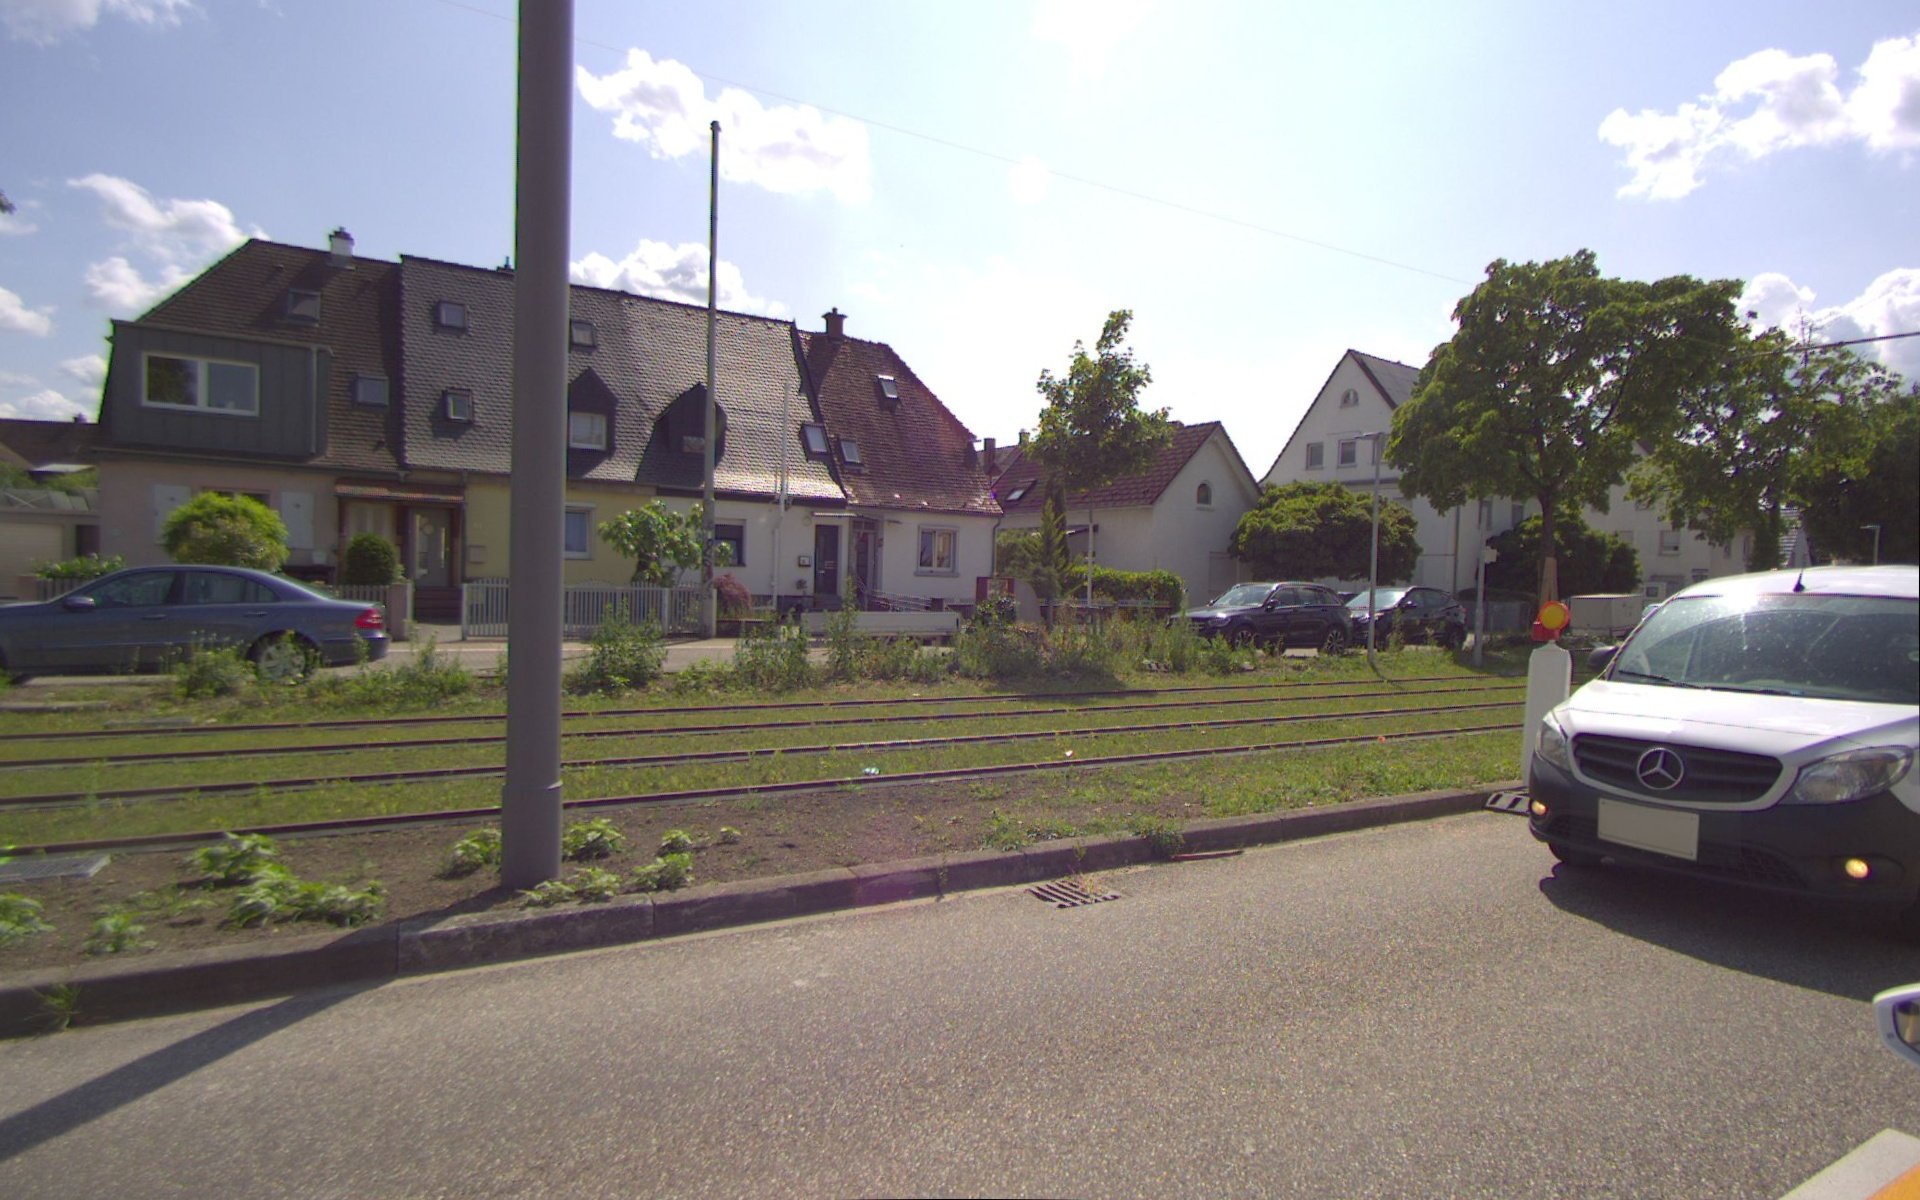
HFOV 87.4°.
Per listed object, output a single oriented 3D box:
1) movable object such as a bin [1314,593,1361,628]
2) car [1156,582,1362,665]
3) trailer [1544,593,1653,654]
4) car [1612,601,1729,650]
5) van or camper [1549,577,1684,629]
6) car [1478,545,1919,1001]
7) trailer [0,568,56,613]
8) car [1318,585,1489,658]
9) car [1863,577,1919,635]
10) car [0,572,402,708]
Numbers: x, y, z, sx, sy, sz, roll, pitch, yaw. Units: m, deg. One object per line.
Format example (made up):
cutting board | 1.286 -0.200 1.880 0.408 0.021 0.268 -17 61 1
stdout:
movable object such as a bin | 15.130 0.413 40.282 1.077 1.347 1.352 0 1 -32
car | 6.456 0.485 21.528 4.519 1.608 1.800 1 -1 -34
trailer | 19.151 0.674 30.092 3.338 1.700 1.555 1 1 -35
car | 23.741 0.829 33.521 4.519 1.525 1.718 1 -1 -34
van or camper | 42.052 0.128 64.545 2.418 3.168 6.836 0 1 -34
car | 5.071 0.682 5.821 4.260 1.797 1.725 1 1 -32
trailer | -24.585 -0.277 25.299 1.847 1.039 3.968 1 1 -29
car | 11.005 0.517 24.826 4.518 1.659 1.686 1 -1 -33
car | 47.696 0.346 50.729 6.941 2.757 2.057 1 -1 -39
car | -9.433 0.425 12.050 4.755 1.425 1.811 1 1 -30
